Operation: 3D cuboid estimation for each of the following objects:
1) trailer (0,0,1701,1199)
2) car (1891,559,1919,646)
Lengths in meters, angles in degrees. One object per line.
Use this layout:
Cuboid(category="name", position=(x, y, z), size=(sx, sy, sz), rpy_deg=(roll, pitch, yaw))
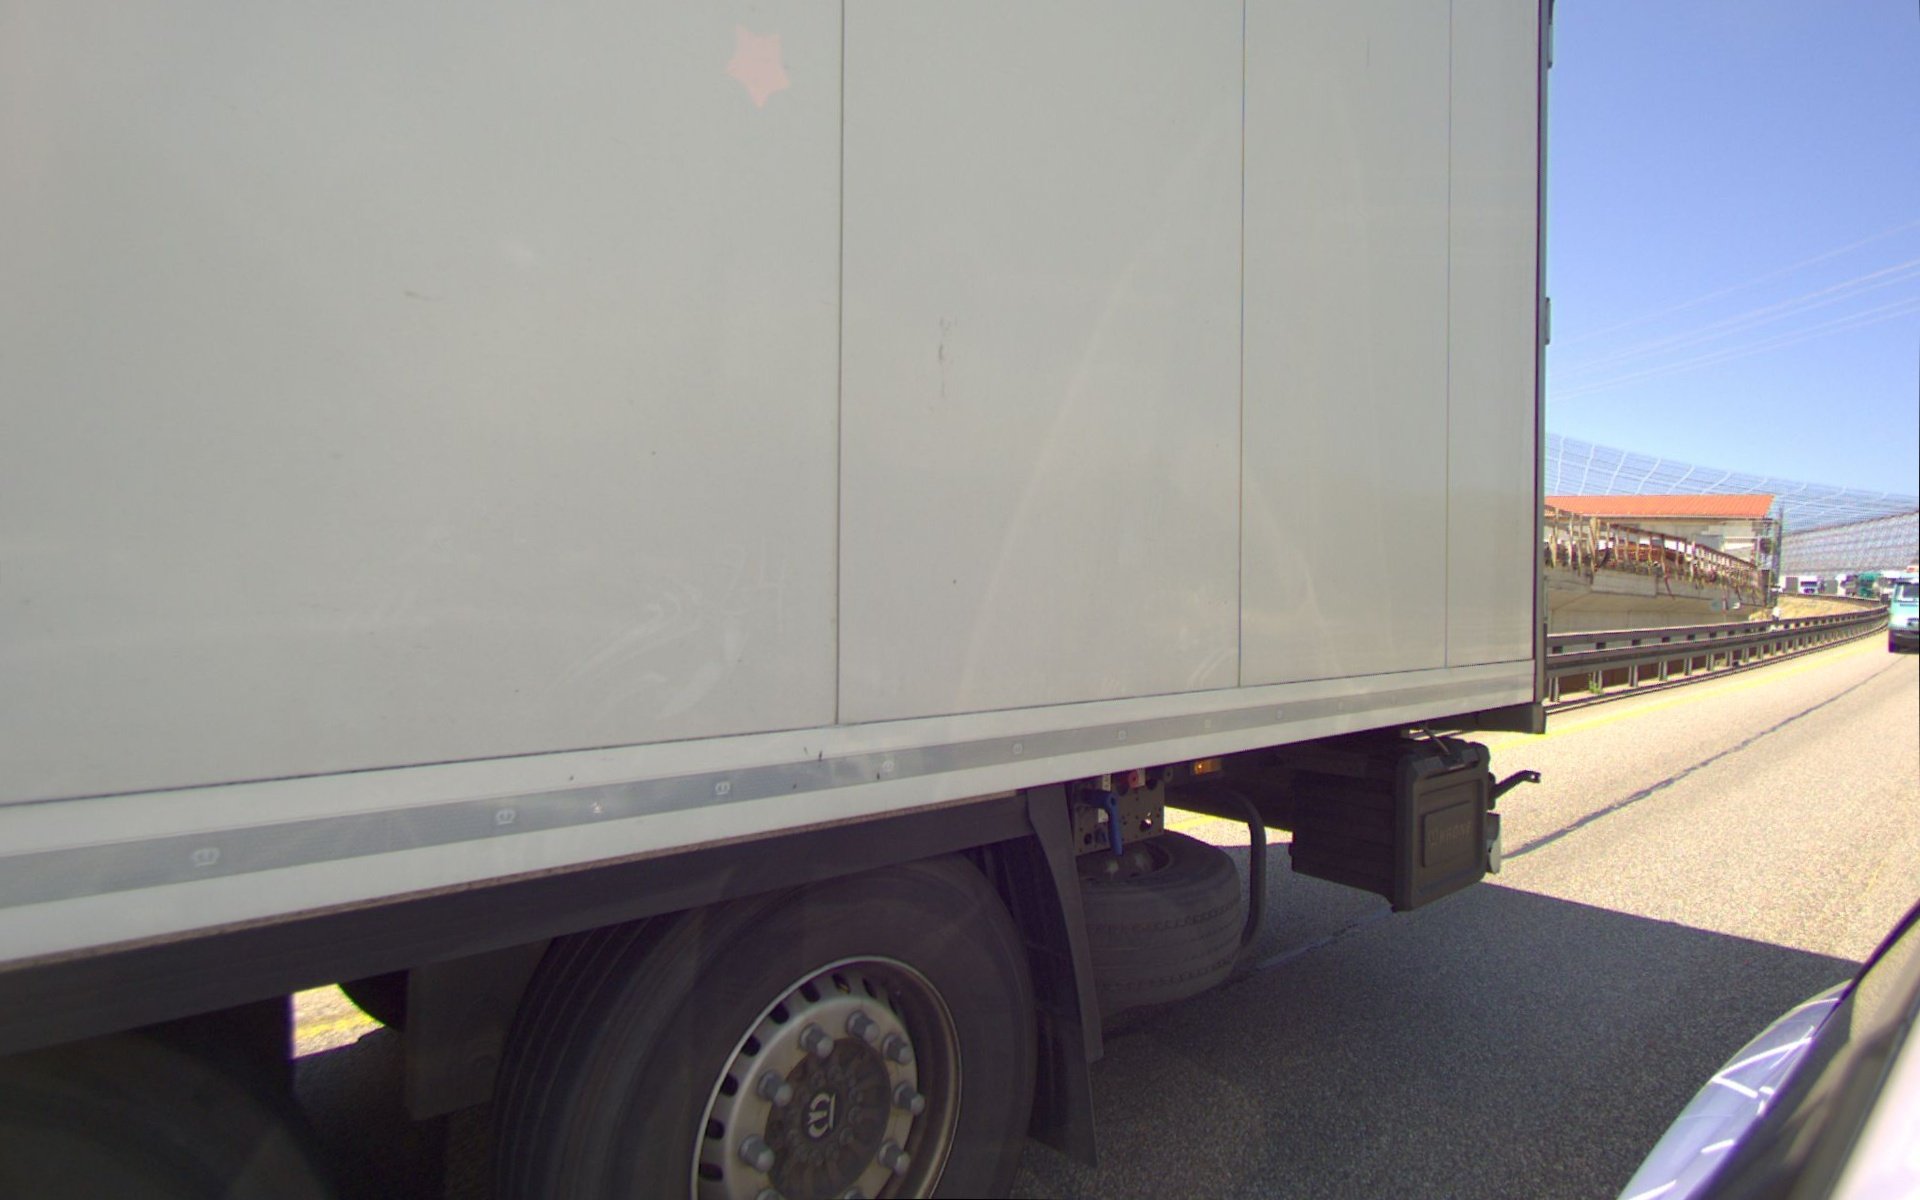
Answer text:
Cuboid(category="trailer", position=(-1.897, -0.704, 1.695), size=(11.346, 4.179, 2.536), rpy_deg=(-1, 0, -41))
Cuboid(category="car", position=(28.852, 0.032, 29.271), size=(6.783, 2.355, 2.215), rpy_deg=(-1, 1, -42))
